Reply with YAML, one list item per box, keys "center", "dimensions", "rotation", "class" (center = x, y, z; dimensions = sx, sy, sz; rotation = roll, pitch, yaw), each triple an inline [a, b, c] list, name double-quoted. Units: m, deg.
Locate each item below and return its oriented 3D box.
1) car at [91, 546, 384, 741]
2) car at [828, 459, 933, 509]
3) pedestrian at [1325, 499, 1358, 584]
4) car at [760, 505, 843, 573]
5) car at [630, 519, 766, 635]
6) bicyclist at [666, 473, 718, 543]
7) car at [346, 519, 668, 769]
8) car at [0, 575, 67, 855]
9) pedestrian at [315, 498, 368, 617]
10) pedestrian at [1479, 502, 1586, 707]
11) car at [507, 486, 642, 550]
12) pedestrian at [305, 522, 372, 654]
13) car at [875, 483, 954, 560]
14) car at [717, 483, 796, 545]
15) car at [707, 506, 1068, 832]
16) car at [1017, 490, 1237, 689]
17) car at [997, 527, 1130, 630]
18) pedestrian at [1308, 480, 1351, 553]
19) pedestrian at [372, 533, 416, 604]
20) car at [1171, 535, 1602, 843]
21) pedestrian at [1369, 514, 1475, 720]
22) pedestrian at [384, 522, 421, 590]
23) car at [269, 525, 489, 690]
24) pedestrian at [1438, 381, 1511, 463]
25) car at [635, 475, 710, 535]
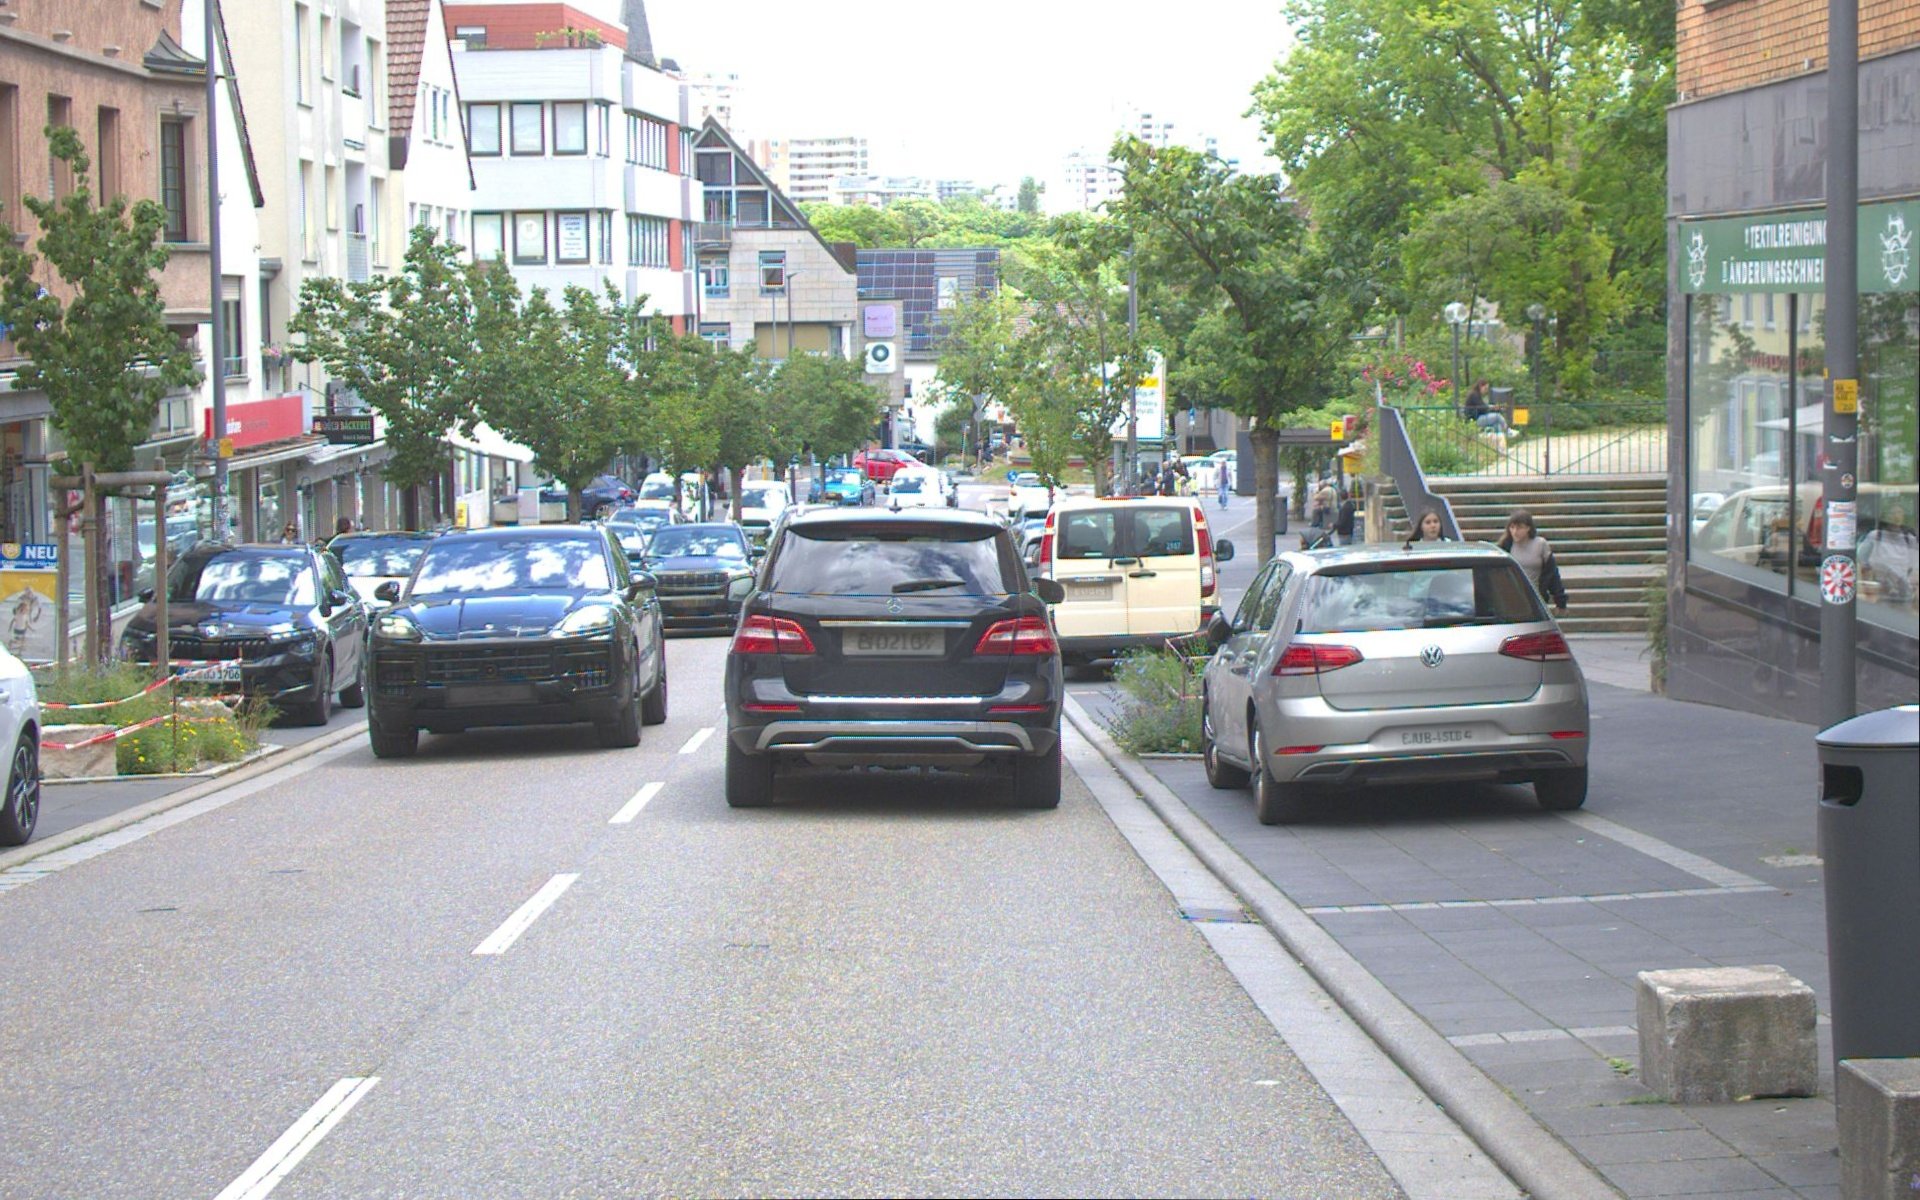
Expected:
- center: [-6.324, 0.326, 30.538]
  dimensions: [1.926, 1.491, 4.263]
  rotation: [-1, 2, -4]
  class: "car"
- center: [-3.373, -4.913, 145.741]
  dimensions: [4.192, 2.023, 1.784]
  rotation: [0, 1, 33]
  class: "car"
- center: [7.226, -1.113, 65.133]
  dimensions: [0.568, 1.581, 0.666]
  rotation: [-1, 1, 8]
  class: "pedestrian"
- center: [-3.647, -1.423, 79.755]
  dimensions: [1.812, 1.503, 4.001]
  rotation: [-1, 1, -2]
  class: "car"
- center: [-3.778, -0.361, 50.133]
  dimensions: [1.764, 1.611, 4.033]
  rotation: [0, 1, -2]
  class: "car"
- center: [-6.394, -2.187, 81.932]
  dimensions: [0.962, 1.604, 0.730]
  rotation: [-3, 1, -27]
  class: "bicyclist"
- center: [-3.412, 0.265, 26.677]
  dimensions: [1.992, 1.712, 4.447]
  rotation: [-2, 1, -2]
  class: "car"
- center: [-5.933, 0.629, 17.003]
  dimensions: [1.926, 1.425, 4.262]
  rotation: [0, 2, 0]
  class: "car"
- center: [-8.728, -0.605, 48.536]
  dimensions: [0.641, 1.662, 0.720]
  rotation: [0, 1, -2]
  class: "pedestrian"
- center: [4.683, 0.027, 28.148]
  dimensions: [0.671, 1.627, 0.670]
  rotation: [-3, 1, -3]
  class: "pedestrian"
- center: [-11.828, -2.524, 105.666]
  dimensions: [3.986, 1.744, 2.000]
  rotation: [-3, 1, -4]
  class: "car"
- center: [-7.859, -0.156, 43.480]
  dimensions: [0.727, 1.662, 0.720]
  rotation: [0, 1, -2]
  class: "pedestrian"
- center: [-1.404, -2.481, 108.681]
  dimensions: [2.174, 2.356, 4.622]
  rotation: [0, 1, 3]
  class: "car"
- center: [-5.627, -2.410, 95.391]
  dimensions: [1.926, 1.623, 4.263]
  rotation: [2, 2, -1]
  class: "car"
- center: [-0.415, 0.320, 20.831]
  dimensions: [1.943, 1.734, 4.179]
  rotation: [1, 2, -1]
  class: "car"
- center: [1.715, -0.182, 36.799]
  dimensions: [1.938, 1.885, 4.707]
  rotation: [-3, 2, -1]
  class: "car"
- center: [1.596, -0.381, 54.528]
  dimensions: [1.938, 1.452, 4.707]
  rotation: [-1, 2, 0]
  class: "car"
- center: [9.977, -2.256, 92.799]
  dimensions: [1.050, 1.906, 0.937]
  rotation: [-3, 1, 6]
  class: "pedestrian"
- center: [-10.352, -0.582, 62.887]
  dimensions: [0.686, 1.277, 0.676]
  rotation: [-1, 1, -1]
  class: "pedestrian"
- center: [2.289, 0.412, 19.459]
  dimensions: [1.748, 1.460, 4.075]
  rotation: [-3, 1, -2]
  class: "car"
- center: [3.756, 0.126, 27.970]
  dimensions: [0.671, 1.627, 0.670]
  rotation: [-3, 1, -3]
  class: "pedestrian"
- center: [-10.416, -0.825, 64.244]
  dimensions: [0.565, 1.277, 0.759]
  rotation: [0, 1, -2]
  class: "pedestrian"
- center: [-6.337, 0.036, 37.930]
  dimensions: [1.926, 1.590, 4.459]
  rotation: [2, 2, -4]
  class: "car"
- center: [7.925, -2.737, 53.020]
  dimensions: [0.990, 1.227, 0.984]
  rotation: [0, 1, 1]
  class: "pedestrian"
- center: [-8.192, -2.745, 98.337]
  dimensions: [1.926, 1.623, 4.415]
  rotation: [2, 2, -3]
  class: "car"
